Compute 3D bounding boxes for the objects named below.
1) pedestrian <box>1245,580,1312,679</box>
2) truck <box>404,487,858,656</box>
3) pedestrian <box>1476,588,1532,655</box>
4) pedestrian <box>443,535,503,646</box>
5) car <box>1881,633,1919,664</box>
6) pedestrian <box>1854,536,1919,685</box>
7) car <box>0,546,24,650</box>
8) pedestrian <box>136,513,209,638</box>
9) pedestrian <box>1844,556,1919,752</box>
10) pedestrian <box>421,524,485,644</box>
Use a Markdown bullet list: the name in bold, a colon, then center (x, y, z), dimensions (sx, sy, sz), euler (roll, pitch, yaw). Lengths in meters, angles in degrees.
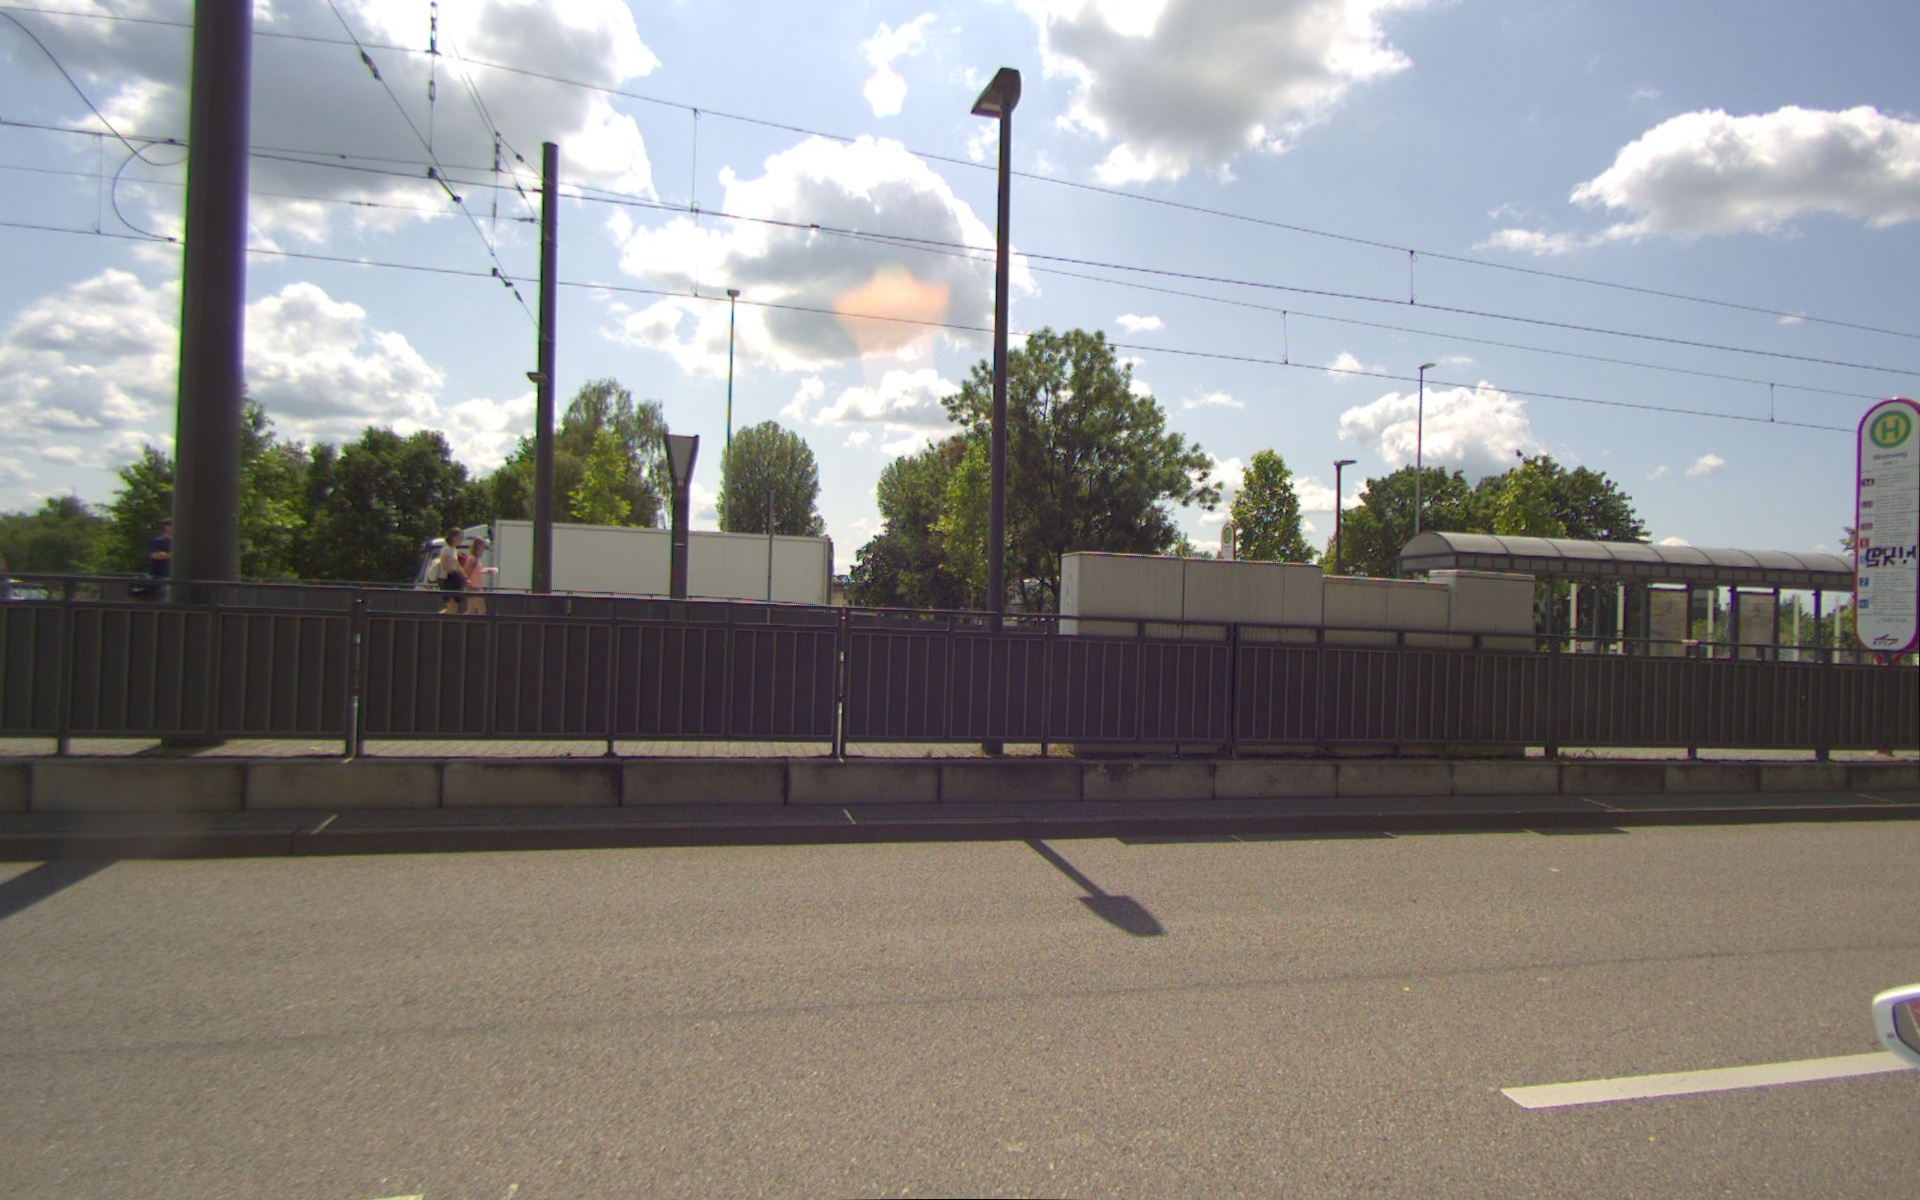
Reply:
- **pedestrian**: center (6.072, 0.547, 19.183), dimensions (0.914, 1.831, 0.734), euler (2, 0, -13)
- **truck**: center (-9.076, -0.661, 29.097), dimensions (11.798, 4.159, 2.943), euler (2, 0, -15)
- **pedestrian**: center (12.034, 0.486, 22.234), dimensions (0.773, 1.450, 0.761), euler (2, -3, -14)
- **pedestrian**: center (-7.823, -0.152, 16.154), dimensions (0.695, 1.744, 0.600), euler (1, 0, -10)
- **car**: center (54.670, 2.785, 56.429), dimensions (1.876, 1.684, 3.919), euler (1, 0, -12)
- **pedestrian**: center (12.225, 0.142, 12.852), dimensions (0.914, 1.831, 0.734), euler (2, 0, -13)
- **car**: center (-19.170, -0.086, 16.888), dimensions (4.586, 1.845, 1.995), euler (1, 0, -13)
- **pedestrian**: center (-11.296, -0.344, 14.424), dimensions (0.515, 1.744, 0.729), euler (1, 0, -9)
- **pedestrian**: center (10.044, 0.551, 10.428), dimensions (0.977, 1.965, 0.873), euler (1, 0, -14)
- **pedestrian**: center (-7.700, -0.243, 15.280), dimensions (0.666, 1.772, 0.636), euler (2, 2, -10)
